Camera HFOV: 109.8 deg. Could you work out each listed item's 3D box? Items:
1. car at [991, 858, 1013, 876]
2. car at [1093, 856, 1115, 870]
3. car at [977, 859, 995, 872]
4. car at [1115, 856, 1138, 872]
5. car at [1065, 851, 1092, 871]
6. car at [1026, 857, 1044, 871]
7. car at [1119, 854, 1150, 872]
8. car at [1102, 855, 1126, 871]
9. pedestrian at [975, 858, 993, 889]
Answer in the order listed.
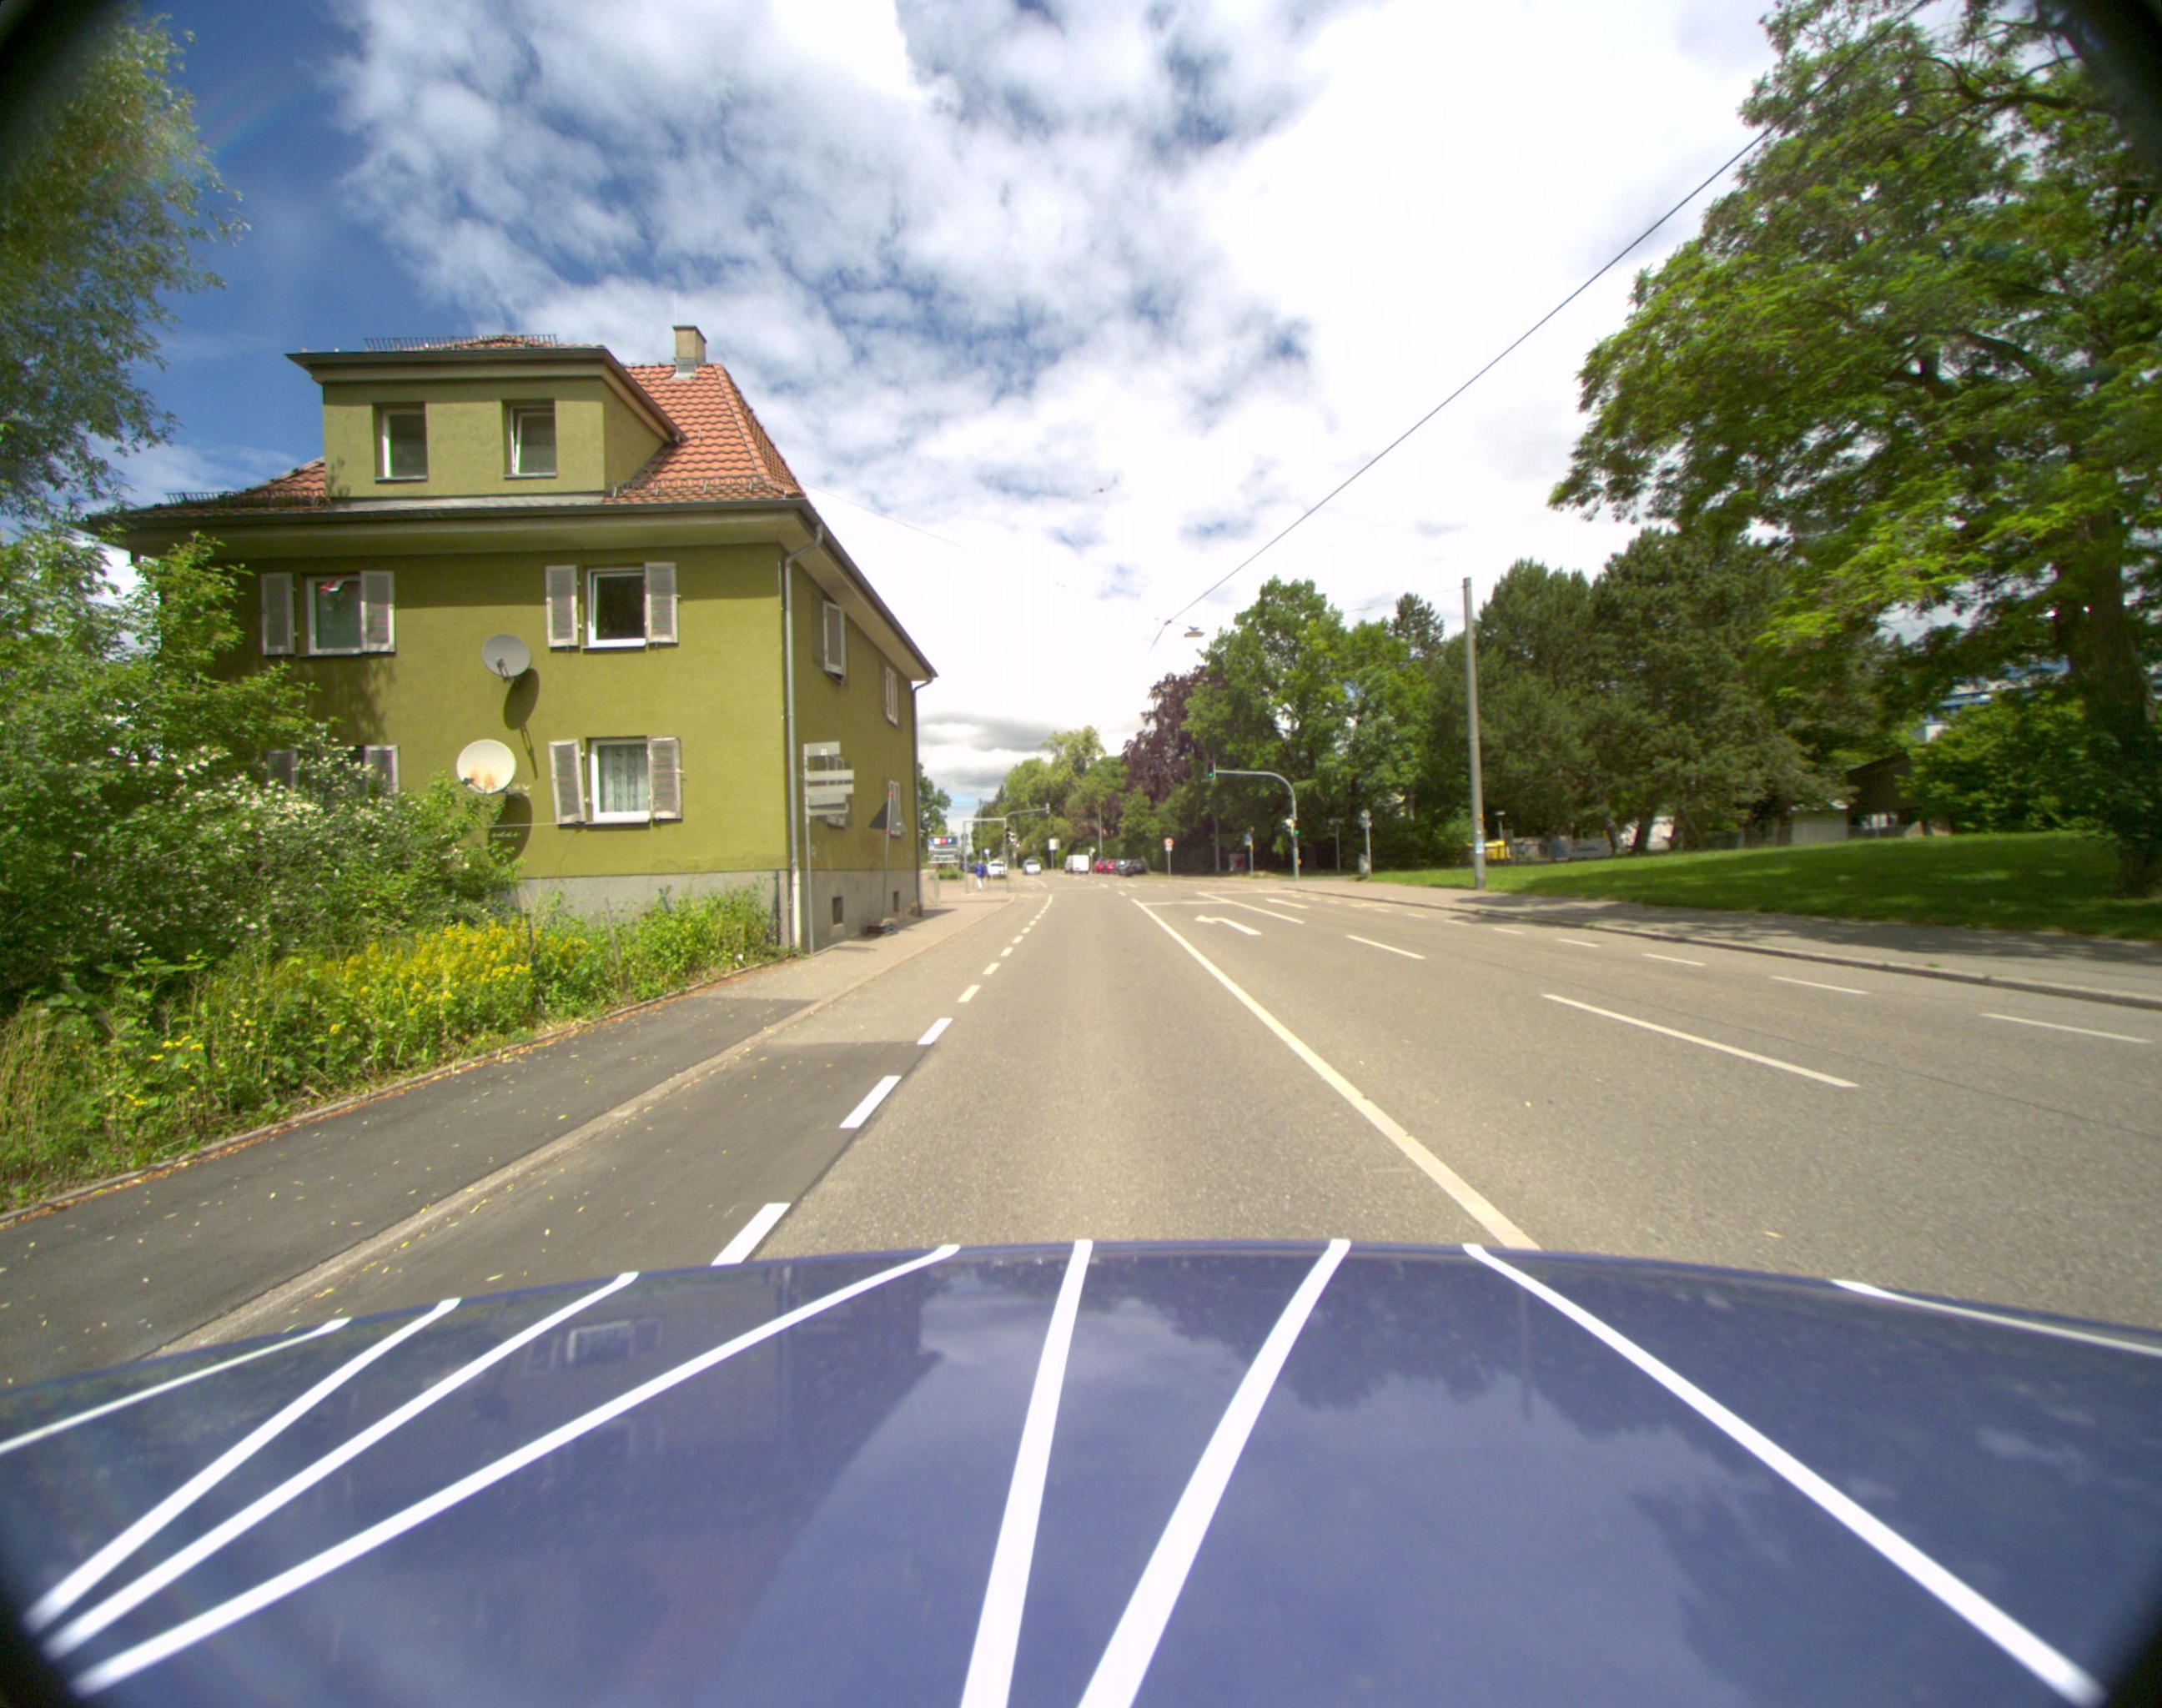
[{"bbox_3d":[-7.215,1.163,69.027,1.796,1.522,3.918,1,0,-8],"label":"car"},{"bbox_3d":[2.493,0.997,81.962,1.531,1.358,3.371,-3,1,-12],"label":"car"},{"bbox_3d":[-12.214,1.416,97.298,1.707,1.522,3.995,-3,0,-15],"label":"car"},{"bbox_3d":[4.333,0.921,72.583,1.560,1.404,3.191,-3,1,-9],"label":"car"},{"bbox_3d":[-0.266,0.720,80.865,2.000,2.011,5.347,-1,0,-10],"label":"car"},{"bbox_3d":[-5.174,1.071,84.438,1.552,1.418,3.853,-3,0,-9],"label":"car"},{"bbox_3d":[4.741,0.808,67.959,1.688,1.407,4.398,-3,1,-9],"label":"car"},{"bbox_3d":[3.323,0.909,76.979,1.524,1.469,3.321,-3,0,-12],"label":"car"},{"bbox_3d":[-4.983,0.993,39.159,0.826,1.563,0.987,-1,1,-4],"label":"pedestrian"}]
